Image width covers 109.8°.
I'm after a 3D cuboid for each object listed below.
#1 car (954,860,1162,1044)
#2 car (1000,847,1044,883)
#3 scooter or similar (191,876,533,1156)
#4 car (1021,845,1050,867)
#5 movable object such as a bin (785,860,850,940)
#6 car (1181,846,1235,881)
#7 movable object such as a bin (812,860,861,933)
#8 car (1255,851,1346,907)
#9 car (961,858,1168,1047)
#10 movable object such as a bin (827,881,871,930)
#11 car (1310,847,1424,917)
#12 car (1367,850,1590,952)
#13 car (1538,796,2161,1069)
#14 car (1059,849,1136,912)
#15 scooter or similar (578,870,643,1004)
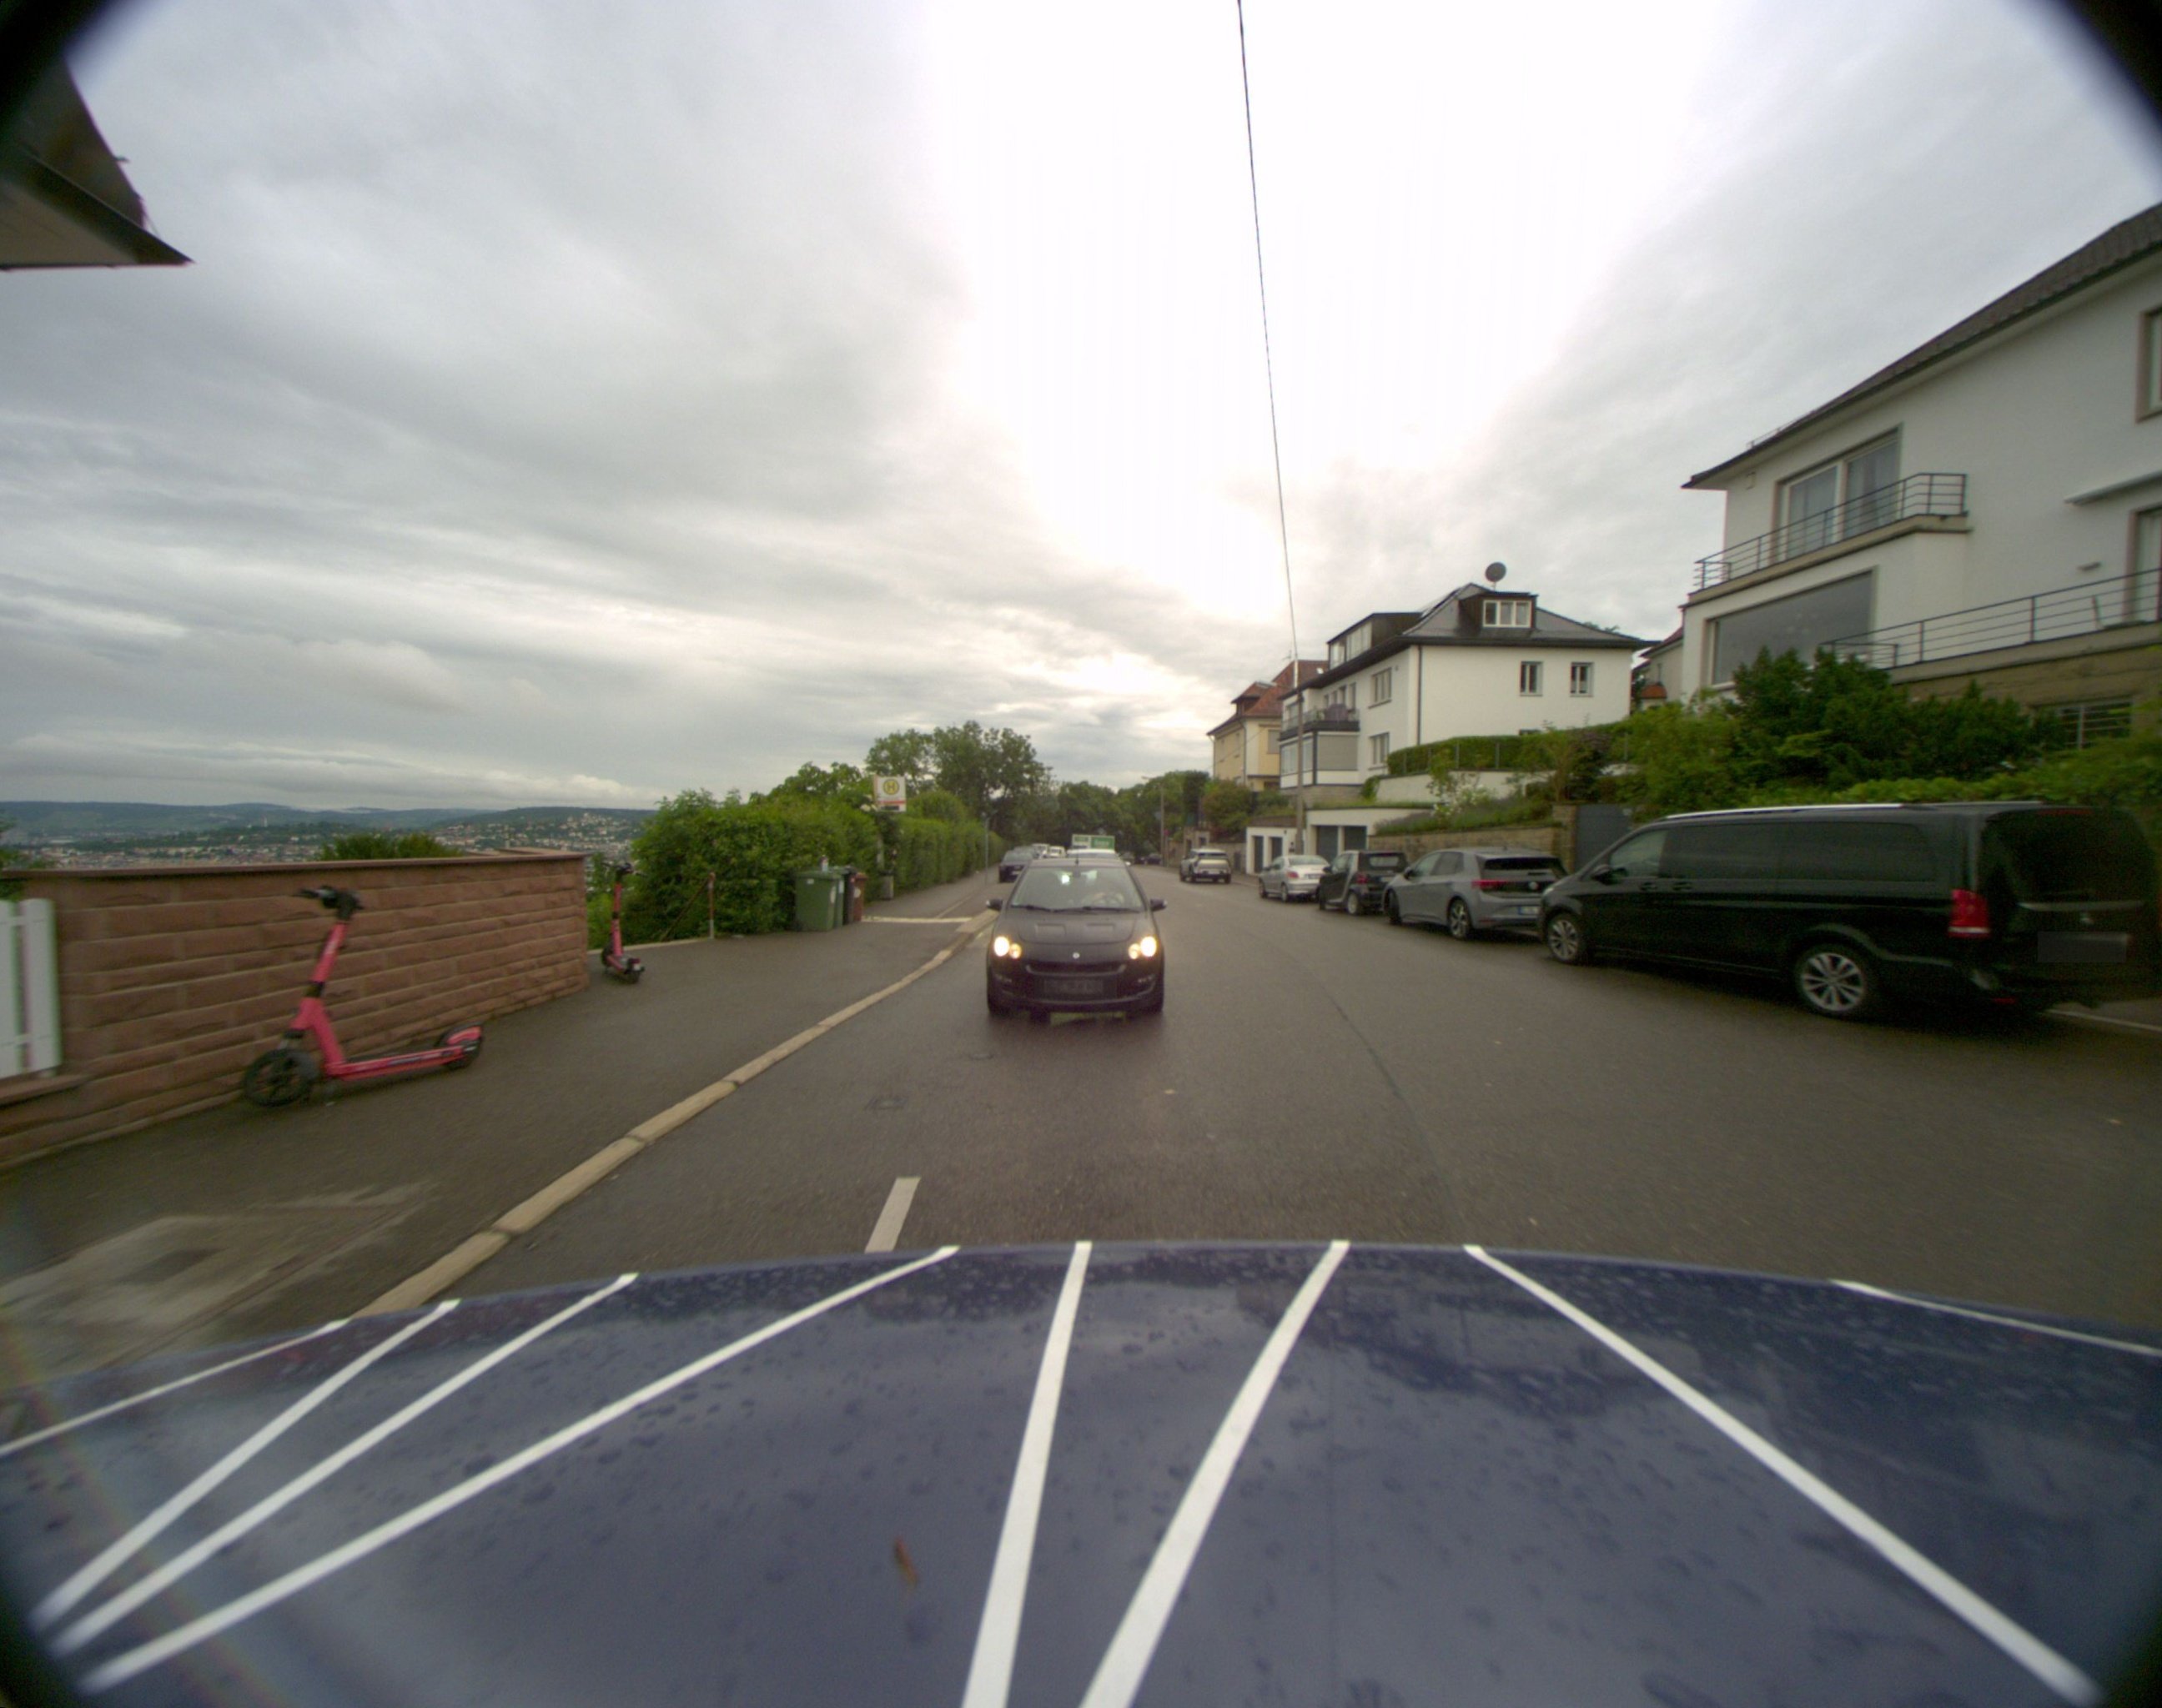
[{"bbox_3d":[0.010,0.848,8.392,1.710,1.414,4.001,-1,1,6],"label":"car"},{"bbox_3d":[-2.770,0.486,36.591,1.929,1.577,3.998,-1,1,-3],"label":"car"},{"bbox_3d":[-4.329,0.873,4.725,0.355,1.395,1.480,-1,2,22],"label":"scooter or similar"},{"bbox_3d":[-3.245,0.136,54.511,1.929,1.447,3.998,-1,1,-3],"label":"car"},{"bbox_3d":[-4.396,0.748,12.716,0.727,1.239,0.916,2,2,1],"label":"movable object such as a bin"},{"bbox_3d":[5.913,0.401,35.799,1.869,1.492,3.999,-1,1,0],"label":"car"},{"bbox_3d":[-4.341,0.750,13.536,0.613,1.239,0.684,-1,2,1],"label":"movable object such as a bin"},{"bbox_3d":[6.554,0.685,23.007,1.594,1.482,3.436,-2,1,-2],"label":"car"},{"bbox_3d":[0.074,0.855,8.384,1.695,1.482,3.941,-2,1,7],"label":"car"},{"bbox_3d":[-4.324,0.956,14.202,0.613,0.859,0.589,-1,2,1],"label":"movable object such as a bin"},{"bbox_3d":[6.842,0.613,18.433,1.522,1.482,2.893,-2,1,-3],"label":"car"},{"bbox_3d":[6.984,0.708,13.955,1.696,1.482,4.402,-2,1,-1],"label":"car"},{"bbox_3d":[7.382,0.538,7.949,1.999,1.946,4.771,-2,1,-5],"label":"car"},{"bbox_3d":[0.391,0.690,22.052,1.929,1.577,3.998,-1,1,-3],"label":"car"},{"bbox_3d":[-5.073,0.842,8.168,0.357,1.265,1.290,-3,4,-41],"label":"scooter or similar"}]
